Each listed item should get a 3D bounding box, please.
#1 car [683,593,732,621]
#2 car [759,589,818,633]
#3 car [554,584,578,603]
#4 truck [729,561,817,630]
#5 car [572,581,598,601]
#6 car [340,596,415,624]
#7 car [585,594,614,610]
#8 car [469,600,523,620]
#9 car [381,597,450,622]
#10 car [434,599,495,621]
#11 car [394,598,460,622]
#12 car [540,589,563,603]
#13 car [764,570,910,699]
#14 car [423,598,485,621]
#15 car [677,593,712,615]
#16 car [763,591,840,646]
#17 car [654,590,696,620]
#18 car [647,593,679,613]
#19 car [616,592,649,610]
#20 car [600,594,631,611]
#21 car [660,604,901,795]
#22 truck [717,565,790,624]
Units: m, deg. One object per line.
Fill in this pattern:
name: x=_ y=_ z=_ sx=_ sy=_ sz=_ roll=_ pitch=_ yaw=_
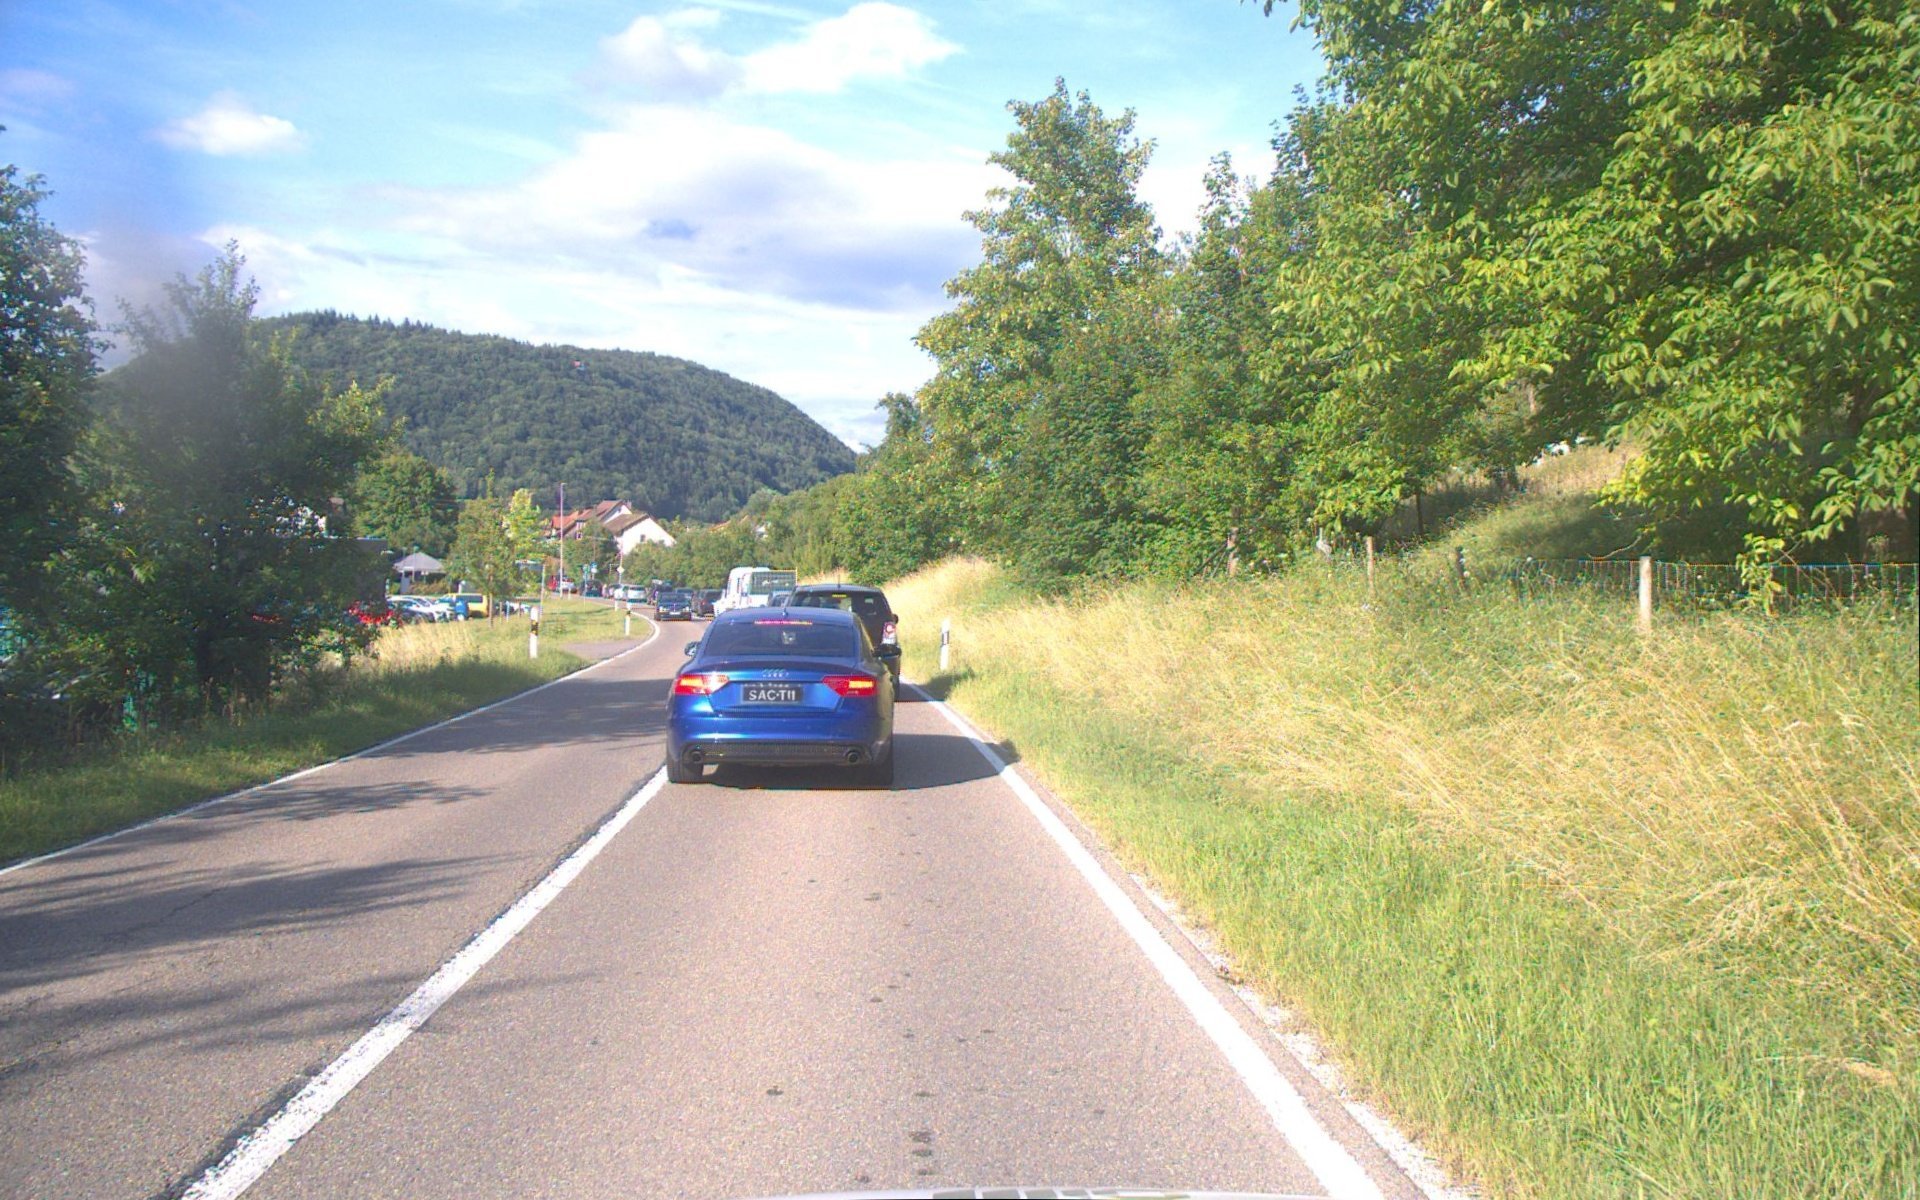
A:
car: x=-14.329 y=0.409 z=93.638 sx=1.965 sy=1.508 sz=3.975 roll=1 pitch=0 yaw=-21
car: x=-6.232 y=0.396 z=59.742 sx=1.956 sy=1.508 sz=3.993 roll=1 pitch=0 yaw=-8
car: x=-43.371 y=-0.703 z=181.861 sx=1.966 sy=2.049 sz=3.973 roll=1 pitch=0 yaw=-22
truck: x=-8.158 y=-0.189 z=71.114 sx=2.813 sy=2.712 sz=10.363 roll=1 pitch=0 yaw=-12
car: x=-38.553 y=-0.927 z=170.097 sx=1.966 sy=2.049 sz=3.973 roll=1 pitch=0 yaw=-22
car: x=-35.600 y=0.608 z=101.101 sx=3.907 sy=1.581 sz=1.781 roll=1 pitch=-1 yaw=-3
car: x=-34.370 y=0.196 z=157.779 sx=1.967 sy=1.508 sz=3.971 roll=1 pitch=0 yaw=-23
car: x=-37.970 y=0.789 z=135.322 sx=3.907 sy=1.581 sz=1.781 roll=1 pitch=-1 yaw=-3
car: x=-36.005 y=0.655 z=109.434 sx=3.907 sy=1.581 sz=1.781 roll=1 pitch=-1 yaw=-3
car: x=-36.339 y=0.726 z=121.294 sx=3.907 sy=1.581 sz=1.781 roll=1 pitch=-1 yaw=-3
car: x=-36.264 y=0.671 z=112.598 sx=3.907 sy=1.581 sz=1.781 roll=1 pitch=-1 yaw=-3
car: x=-47.011 y=-0.437 z=190.166 sx=1.967 sy=1.508 sz=3.971 roll=1 pitch=0 yaw=-23
car: x=-1.764 y=0.480 z=24.501 sx=1.954 sy=1.732 sz=3.997 roll=1 pitch=0 yaw=-3
car: x=-36.298 y=0.710 z=118.731 sx=3.907 sy=1.581 sz=1.781 roll=1 pitch=-1 yaw=-3
car: x=-19.221 y=0.292 z=119.657 sx=1.962 sy=1.508 sz=3.981 roll=1 pitch=0 yaw=-17
car: x=-4.665 y=0.532 z=48.240 sx=1.957 sy=1.508 sz=3.991 roll=1 pitch=0 yaw=-9
car: x=-14.177 y=0.252 z=82.196 sx=1.957 sy=1.400 sz=3.990 roll=1 pitch=0 yaw=-10
car: x=-23.367 y=0.247 z=129.945 sx=1.962 sy=1.508 sz=3.981 roll=1 pitch=0 yaw=-17
car: x=-28.072 y=0.100 z=141.649 sx=1.967 sy=1.508 sz=3.971 roll=1 pitch=0 yaw=-23
car: x=-30.915 y=0.205 z=148.308 sx=1.967 sy=1.508 sz=3.971 roll=1 pitch=0 yaw=-23
car: x=-1.398 y=0.738 z=14.168 sx=1.758 sy=1.383 sz=3.998 roll=0 pitch=0 yaw=-2
truck: x=-10.437 y=-0.251 z=82.671 sx=2.813 sy=2.712 sz=10.614 roll=1 pitch=0 yaw=-12
